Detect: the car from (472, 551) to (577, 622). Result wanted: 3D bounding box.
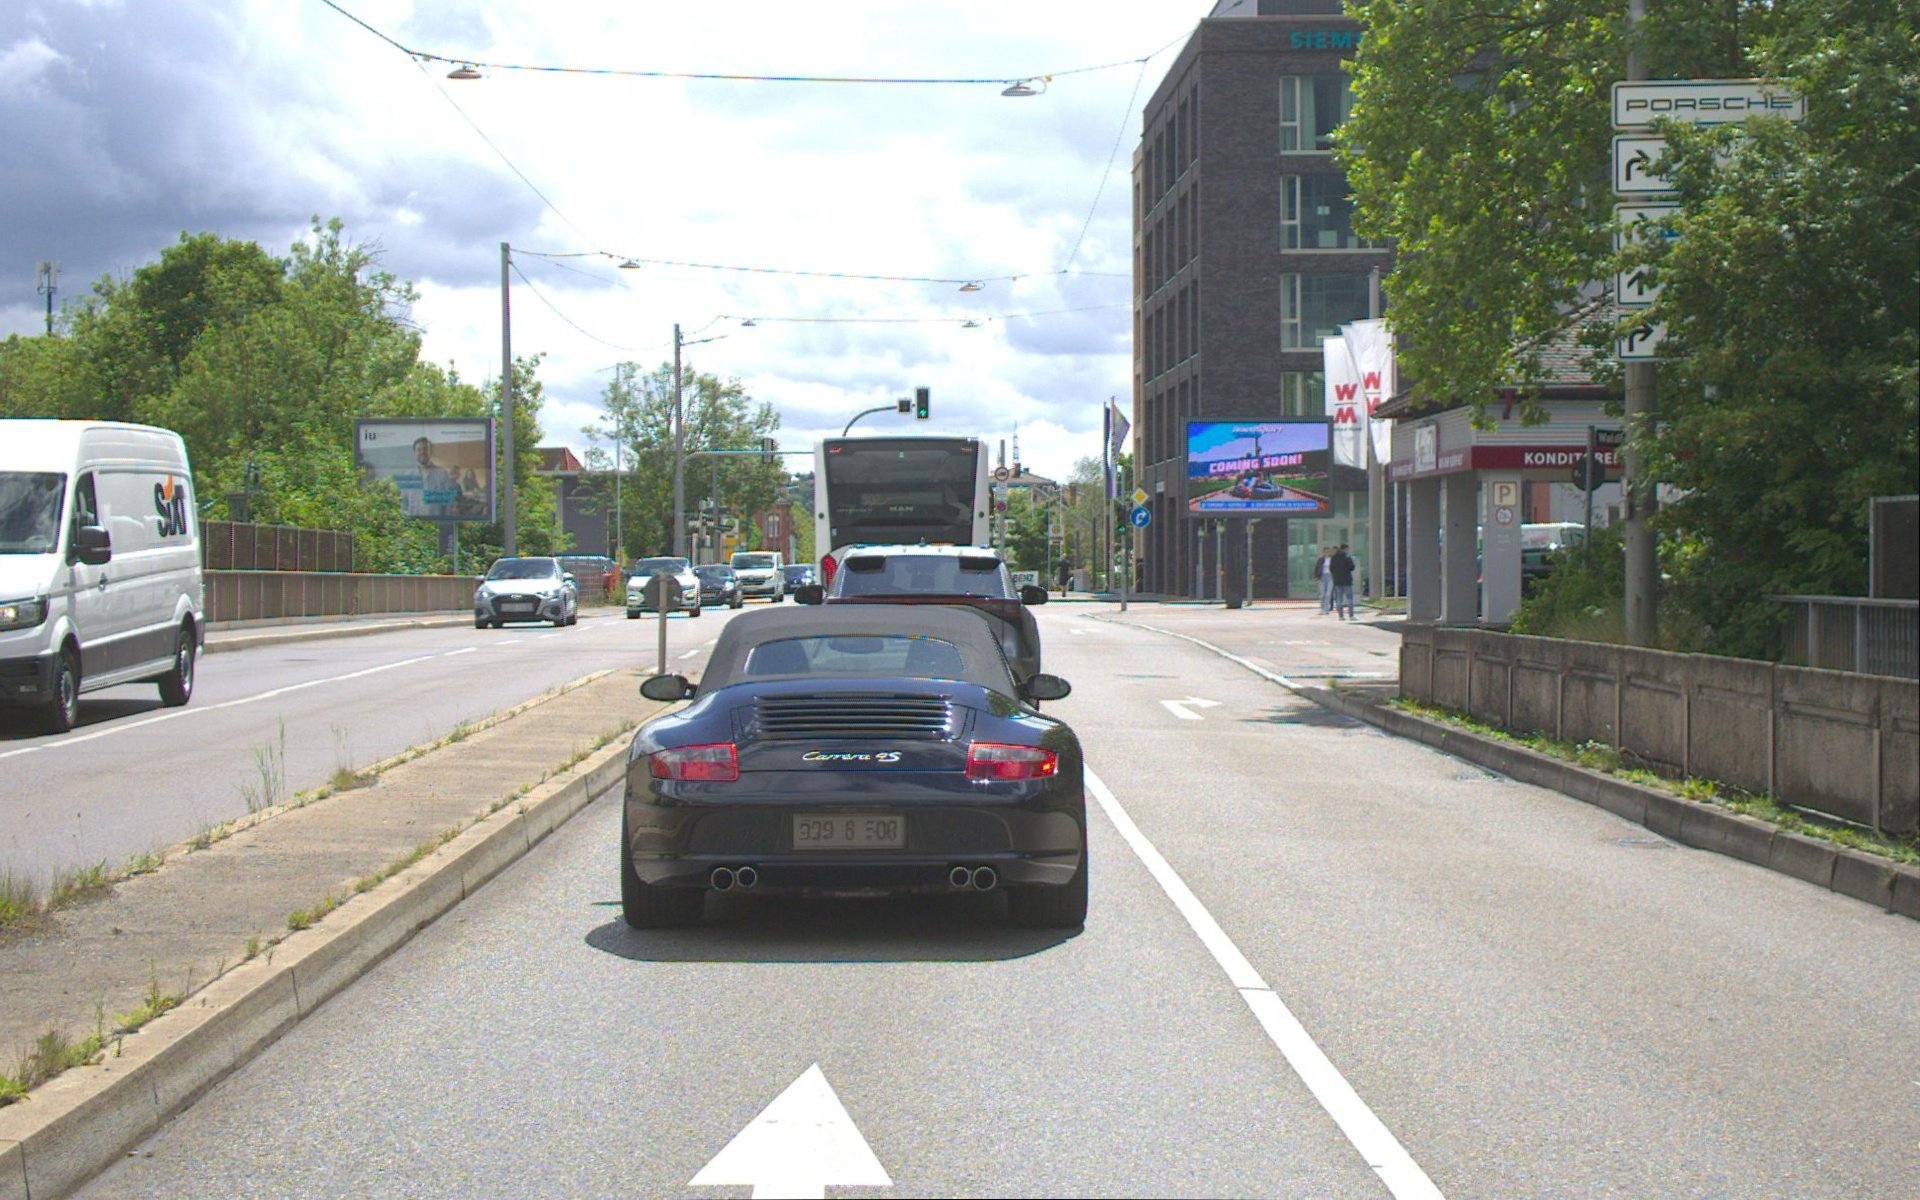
[{"bbox_3d":[-8.743,-0.300,69.291,1.637,1.358,4.195,0,1,-1],"label":"car"}]

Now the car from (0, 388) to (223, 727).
[{"bbox_3d":[-8.076,-0.371,29.484,2.066,2.562,6.822,-1,1,-1],"label":"car"}]

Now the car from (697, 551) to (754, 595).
[{"bbox_3d":[-7.676,-0.896,112.920,1.628,1.425,4.000,0,0,-1],"label":"car"}]

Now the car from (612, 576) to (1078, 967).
[{"bbox_3d":[-0.511,0.631,14.889,1.719,1.270,4.089,1,3,-2],"label":"car"}]

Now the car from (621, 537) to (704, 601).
[{"bbox_3d":[-7.487,-0.792,86.735,1.810,1.555,4.208,1,1,-1],"label":"car"}]

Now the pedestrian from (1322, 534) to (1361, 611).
[{"bbox_3d":[8.378,-0.600,75.443,0.681,1.690,0.597,1,1,25],"label":"pedestrian"}]

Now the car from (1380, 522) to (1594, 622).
[{"bbox_3d":[11.276,-0.601,73.814,4.230,1.930,2.029,-2,0,1],"label":"car"}]

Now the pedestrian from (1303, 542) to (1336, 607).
[{"bbox_3d":[9.369,-0.677,89.722,0.707,1.690,0.924,0,1,-3],"label":"pedestrian"}]

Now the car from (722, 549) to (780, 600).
[{"bbox_3d":[-8.000,-0.984,132.175,1.901,1.880,5.313,-2,0,-1],"label":"car"}]

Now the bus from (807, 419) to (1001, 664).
[{"bbox_3d":[-0.767,-1.147,55.124,2.689,3.244,12.060,2,4,0],"label":"bus"}]

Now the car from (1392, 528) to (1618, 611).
[{"bbox_3d":[11.172,-0.613,70.676,4.300,1.508,1.846,-2,0,0],"label":"car"}]

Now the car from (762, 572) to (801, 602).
[{"bbox_3d":[-8.506,-0.619,164.131,1.662,1.411,3.803,0,0,0],"label":"car"}]

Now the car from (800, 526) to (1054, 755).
[{"bbox_3d":[-0.291,0.265,28.175,1.879,1.588,4.230,1,3,-1],"label":"car"}]
